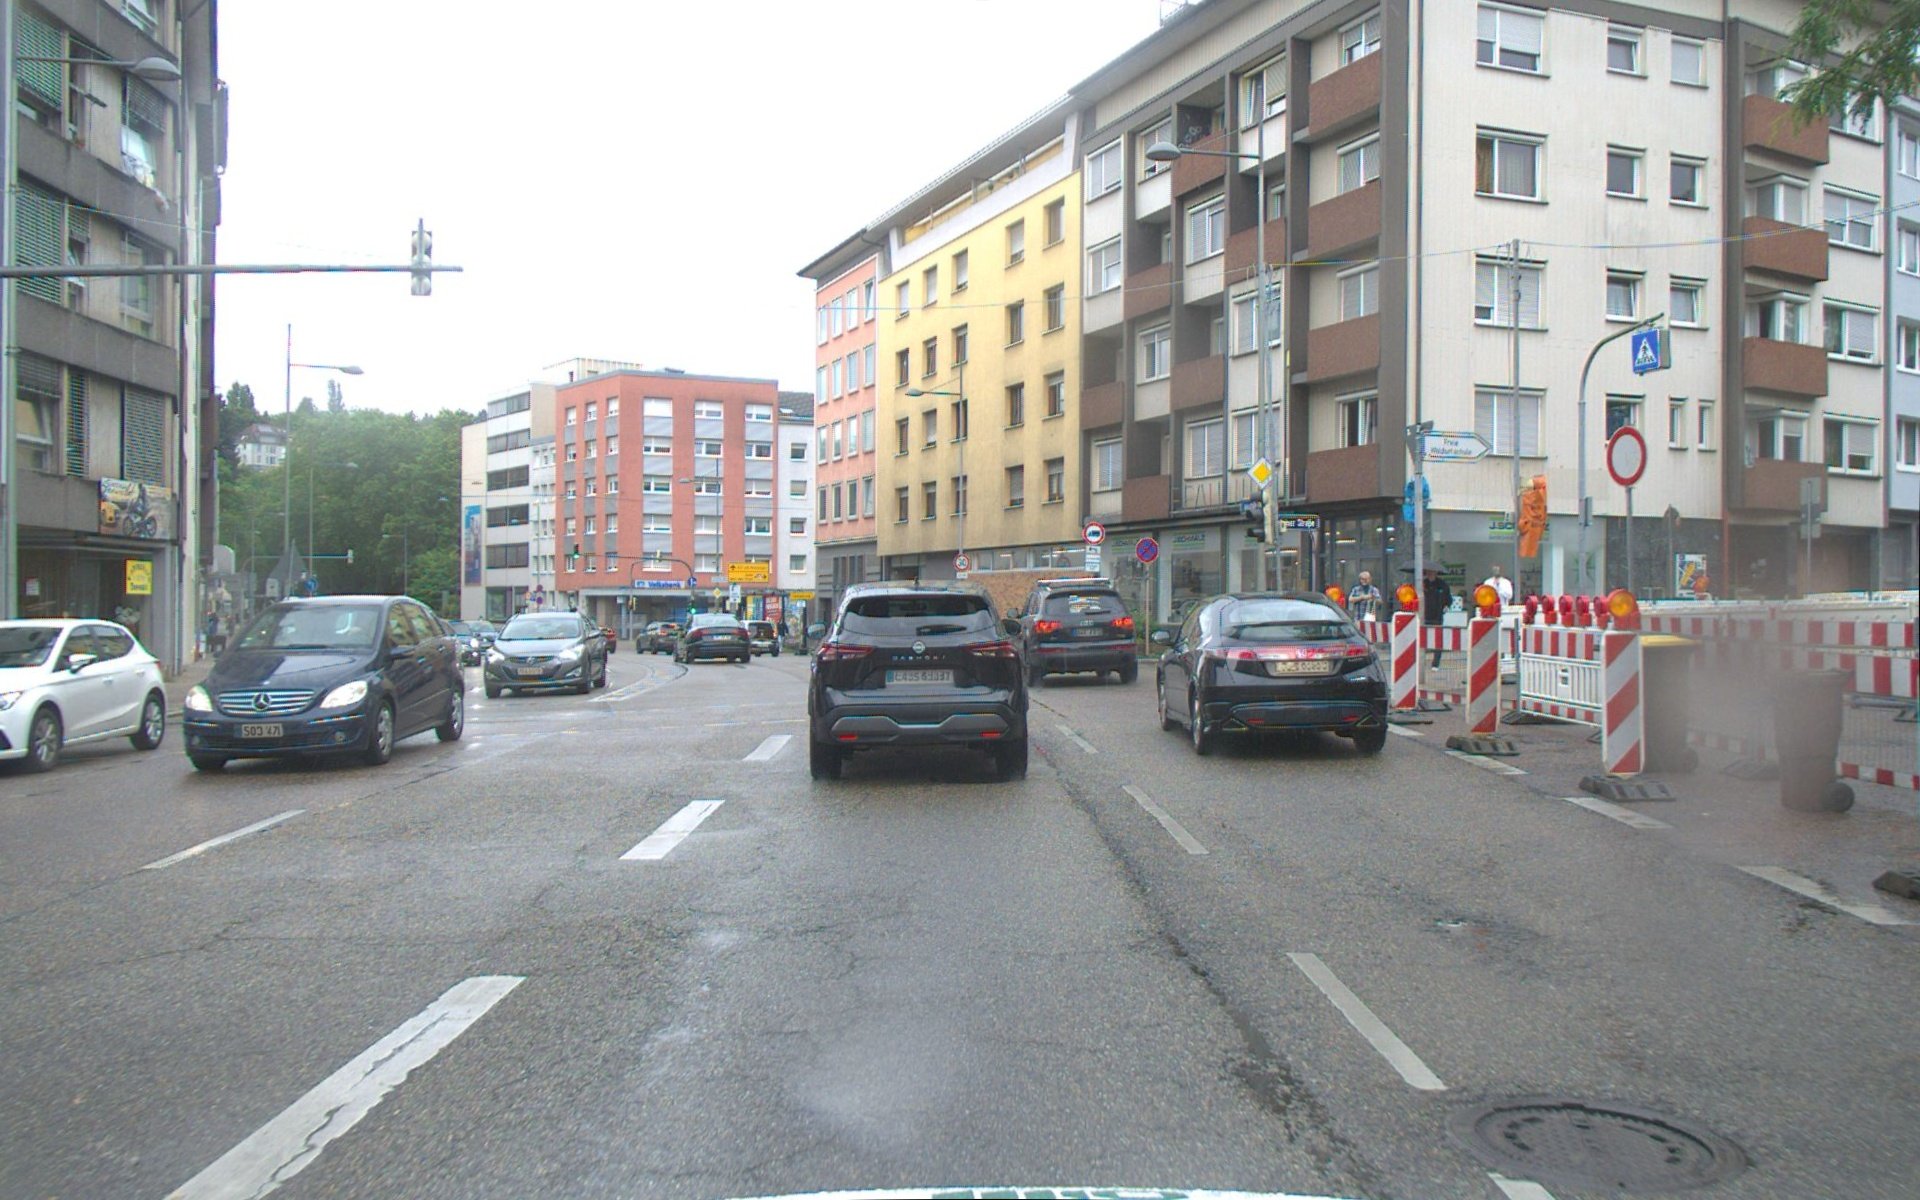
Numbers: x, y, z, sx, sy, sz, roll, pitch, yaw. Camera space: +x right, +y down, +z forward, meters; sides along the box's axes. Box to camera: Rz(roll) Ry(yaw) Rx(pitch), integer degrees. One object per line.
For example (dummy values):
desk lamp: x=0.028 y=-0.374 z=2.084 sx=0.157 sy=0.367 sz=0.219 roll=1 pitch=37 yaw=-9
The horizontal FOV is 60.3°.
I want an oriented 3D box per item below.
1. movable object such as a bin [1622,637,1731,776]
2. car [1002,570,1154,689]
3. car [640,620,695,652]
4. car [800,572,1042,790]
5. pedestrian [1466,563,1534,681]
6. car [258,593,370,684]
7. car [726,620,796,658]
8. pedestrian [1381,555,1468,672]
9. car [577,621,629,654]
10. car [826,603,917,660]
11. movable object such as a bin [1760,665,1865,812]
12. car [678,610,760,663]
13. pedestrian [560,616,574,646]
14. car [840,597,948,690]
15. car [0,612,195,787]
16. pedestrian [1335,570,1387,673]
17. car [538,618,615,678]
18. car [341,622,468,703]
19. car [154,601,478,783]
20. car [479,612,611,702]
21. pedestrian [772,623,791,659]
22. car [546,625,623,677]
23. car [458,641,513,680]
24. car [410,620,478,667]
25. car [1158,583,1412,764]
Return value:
movable object such as a bin: x=5.743 y=0.840 z=13.271 sx=0.608 sy=1.049 sz=0.531 roll=-2 pitch=1 yaw=-4
car: x=2.025 y=0.514 z=29.887 sx=1.981 sy=1.902 sz=4.894 roll=-2 pitch=-1 yaw=-4
car: x=-15.030 y=1.813 z=84.936 sx=1.966 sy=1.546 sz=3.972 roll=2 pitch=-1 yaw=-22
car: x=-0.390 y=0.626 z=14.796 sx=1.857 sy=1.657 sz=3.998 roll=-1 pitch=0 yaw=-3
pedestrian: x=8.999 y=0.370 z=27.560 sx=0.646 sy=1.912 sz=0.987 roll=-4 pitch=-3 yaw=43
car: x=-16.062 y=1.010 z=41.365 sx=2.084 sy=2.050 sz=5.104 roll=3 pitch=-3 yaw=-16
car: x=-8.620 y=1.667 z=71.473 sx=1.967 sy=1.512 sz=3.971 roll=2 pitch=-1 yaw=-23
pedestrian: x=7.787 y=0.242 z=27.728 sx=0.912 sy=1.894 sz=1.015 roll=0 pitch=-3 yaw=-44
car: x=-18.176 y=1.890 z=84.091 sx=1.965 sy=1.557 sz=3.974 roll=2 pitch=-1 yaw=-21
car: x=-3.128 y=1.081 z=57.479 sx=1.919 sy=1.848 sz=3.972 roll=-2 pitch=0 yaw=-23
movable object such as a bin: x=5.845 y=0.938 z=11.354 sx=0.411 sy=0.946 sz=0.531 roll=-2 pitch=1 yaw=-4
car: x=-7.119 y=1.066 z=48.531 sx=1.959 sy=1.412 sz=4.483 roll=2 pitch=-1 yaw=-14
pedestrian: x=-29.174 y=2.282 z=122.881 sx=0.815 sy=2.196 sz=0.763 roll=2 pitch=-2 yaw=-26
car: x=-1.404 y=0.848 z=33.570 sx=1.908 sy=1.714 sz=3.995 roll=-2 pitch=0 yaw=-6
car: x=-9.531 y=0.935 z=16.845 sx=1.738 sy=1.550 sz=4.279 roll=-2 pitch=0 yaw=-5
pedestrian: x=6.907 y=0.378 z=28.523 sx=0.775 sy=1.718 sz=0.822 roll=-2 pitch=-2 yaw=12
car: x=-9.885 y=1.216 z=42.546 sx=1.793 sy=1.390 sz=4.586 roll=-1 pitch=-1 yaw=-14
car: x=-11.620 y=1.261 z=34.854 sx=1.895 sy=1.500 sz=4.590 roll=-3 pitch=0 yaw=-11
car: x=-6.293 y=0.812 z=16.706 sx=1.793 sy=1.570 sz=4.280 roll=-1 pitch=0 yaw=-3
car: x=-7.580 y=0.999 z=30.588 sx=1.818 sy=1.500 sz=4.640 roll=-1 pitch=-1 yaw=-8
pedestrian: x=-9.070 y=2.073 z=83.930 sx=0.663 sy=1.819 sz=1.088 roll=1 pitch=-1 yaw=-21
car: x=-11.935 y=1.583 z=52.368 sx=1.953 sy=1.485 sz=4.462 roll=-2 pitch=0 yaw=-18
car: x=-19.901 y=2.509 z=69.288 sx=1.662 sy=1.498 sz=3.970 roll=-3 pitch=0 yaw=-24
car: x=-16.742 y=1.398 z=53.609 sx=1.699 sy=1.424 sz=3.567 roll=-2 pitch=0 yaw=-24
car: x=3.050 y=0.615 z=16.303 sx=1.747 sy=1.523 sz=4.057 roll=-1 pitch=1 yaw=1
